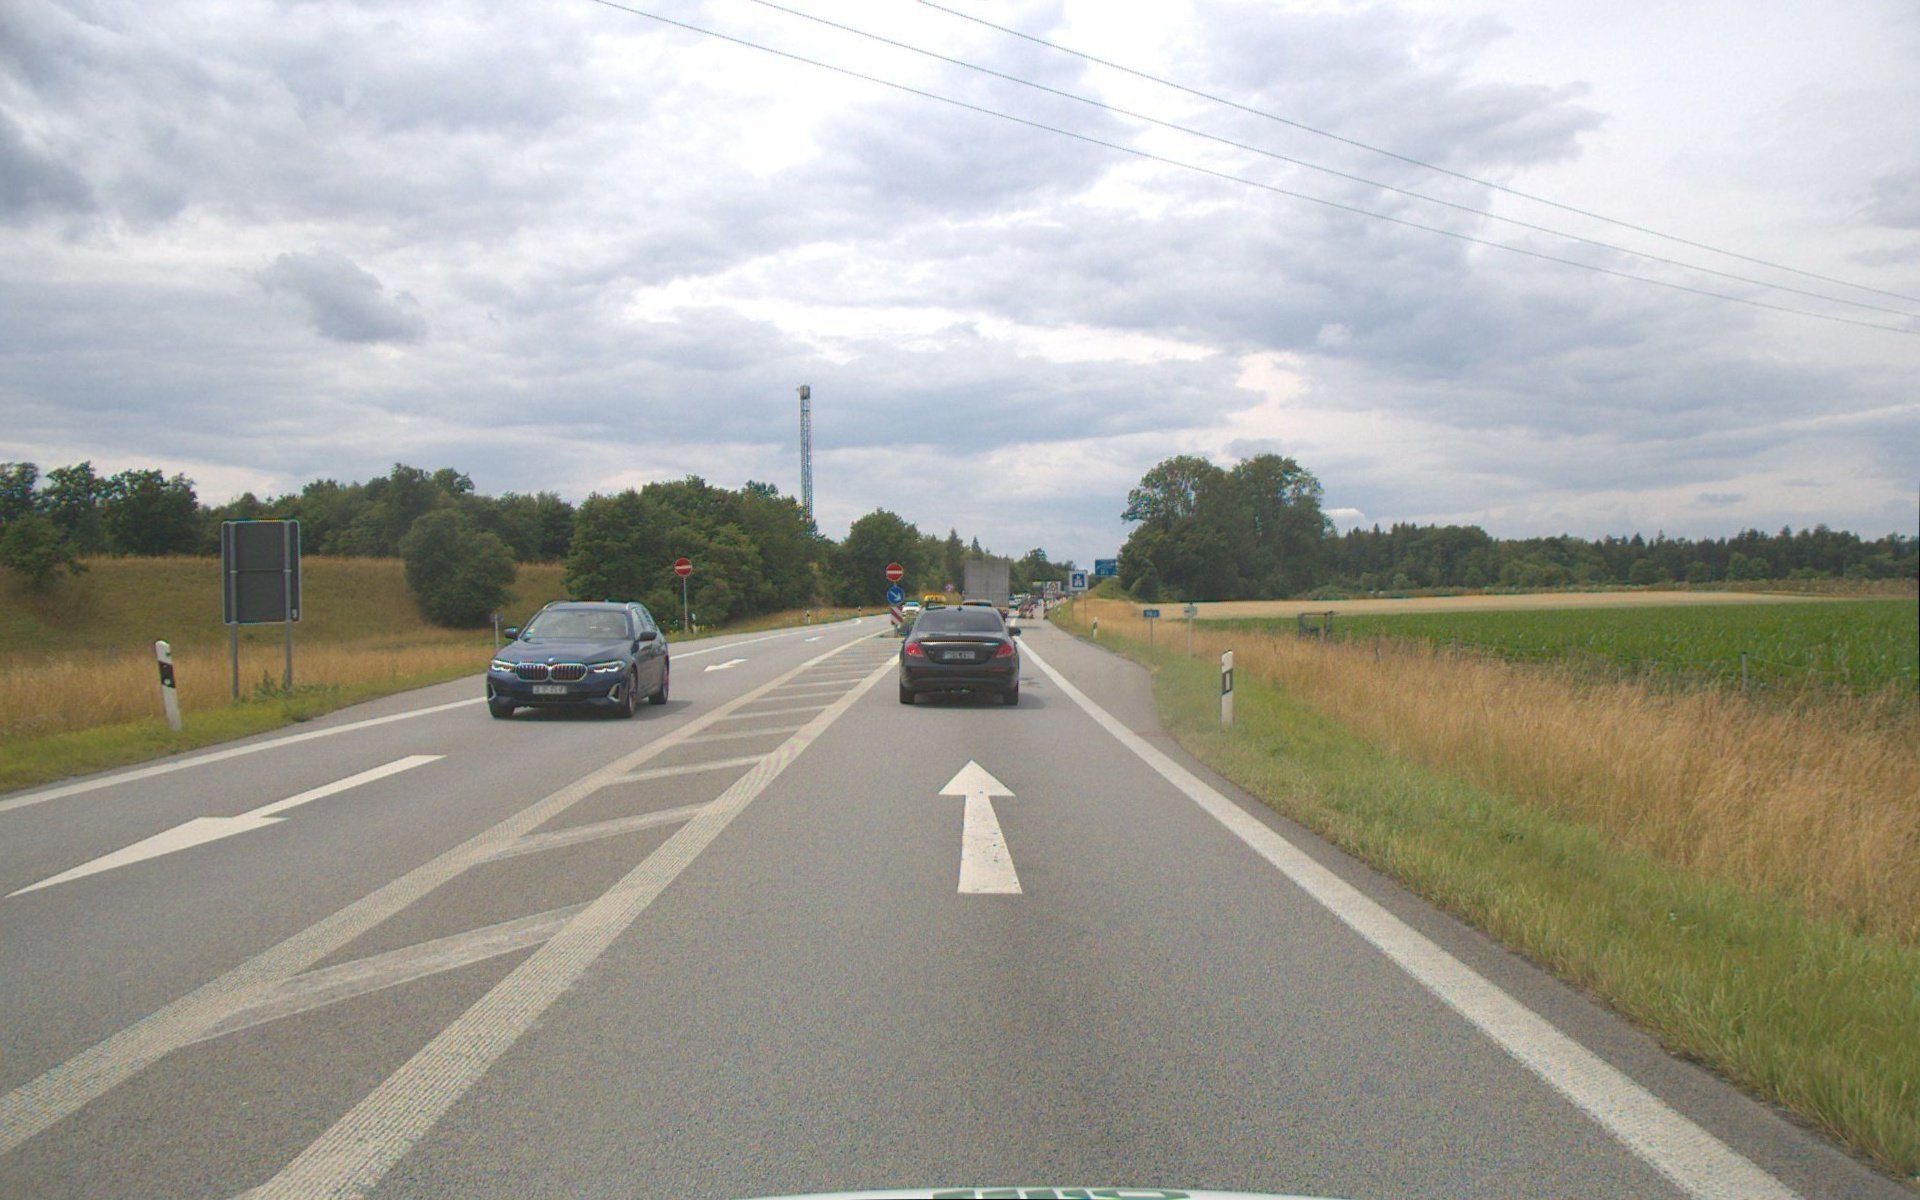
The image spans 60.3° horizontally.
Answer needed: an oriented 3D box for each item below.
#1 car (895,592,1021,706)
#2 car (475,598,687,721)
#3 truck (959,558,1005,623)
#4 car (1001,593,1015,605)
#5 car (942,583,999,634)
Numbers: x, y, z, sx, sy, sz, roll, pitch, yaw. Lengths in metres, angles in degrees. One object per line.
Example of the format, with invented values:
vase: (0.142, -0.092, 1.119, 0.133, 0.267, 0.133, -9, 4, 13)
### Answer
car: (0.013, 0.712, 25.518, 1.758, 1.587, 4.000, 1, -1, 1)
car: (-5.138, 0.764, 23.149, 1.820, 1.505, 5.196, 1, -1, -1)
truck: (1.292, -0.520, 94.807, 2.533, 3.586, 4.813, 1, -1, 2)
car: (6.059, -0.116, 208.306, 1.615, 1.420, 3.705, 1, -1, -1)
car: (0.394, 0.355, 69.356, 1.955, 2.049, 3.995, 1, -1, -6)
